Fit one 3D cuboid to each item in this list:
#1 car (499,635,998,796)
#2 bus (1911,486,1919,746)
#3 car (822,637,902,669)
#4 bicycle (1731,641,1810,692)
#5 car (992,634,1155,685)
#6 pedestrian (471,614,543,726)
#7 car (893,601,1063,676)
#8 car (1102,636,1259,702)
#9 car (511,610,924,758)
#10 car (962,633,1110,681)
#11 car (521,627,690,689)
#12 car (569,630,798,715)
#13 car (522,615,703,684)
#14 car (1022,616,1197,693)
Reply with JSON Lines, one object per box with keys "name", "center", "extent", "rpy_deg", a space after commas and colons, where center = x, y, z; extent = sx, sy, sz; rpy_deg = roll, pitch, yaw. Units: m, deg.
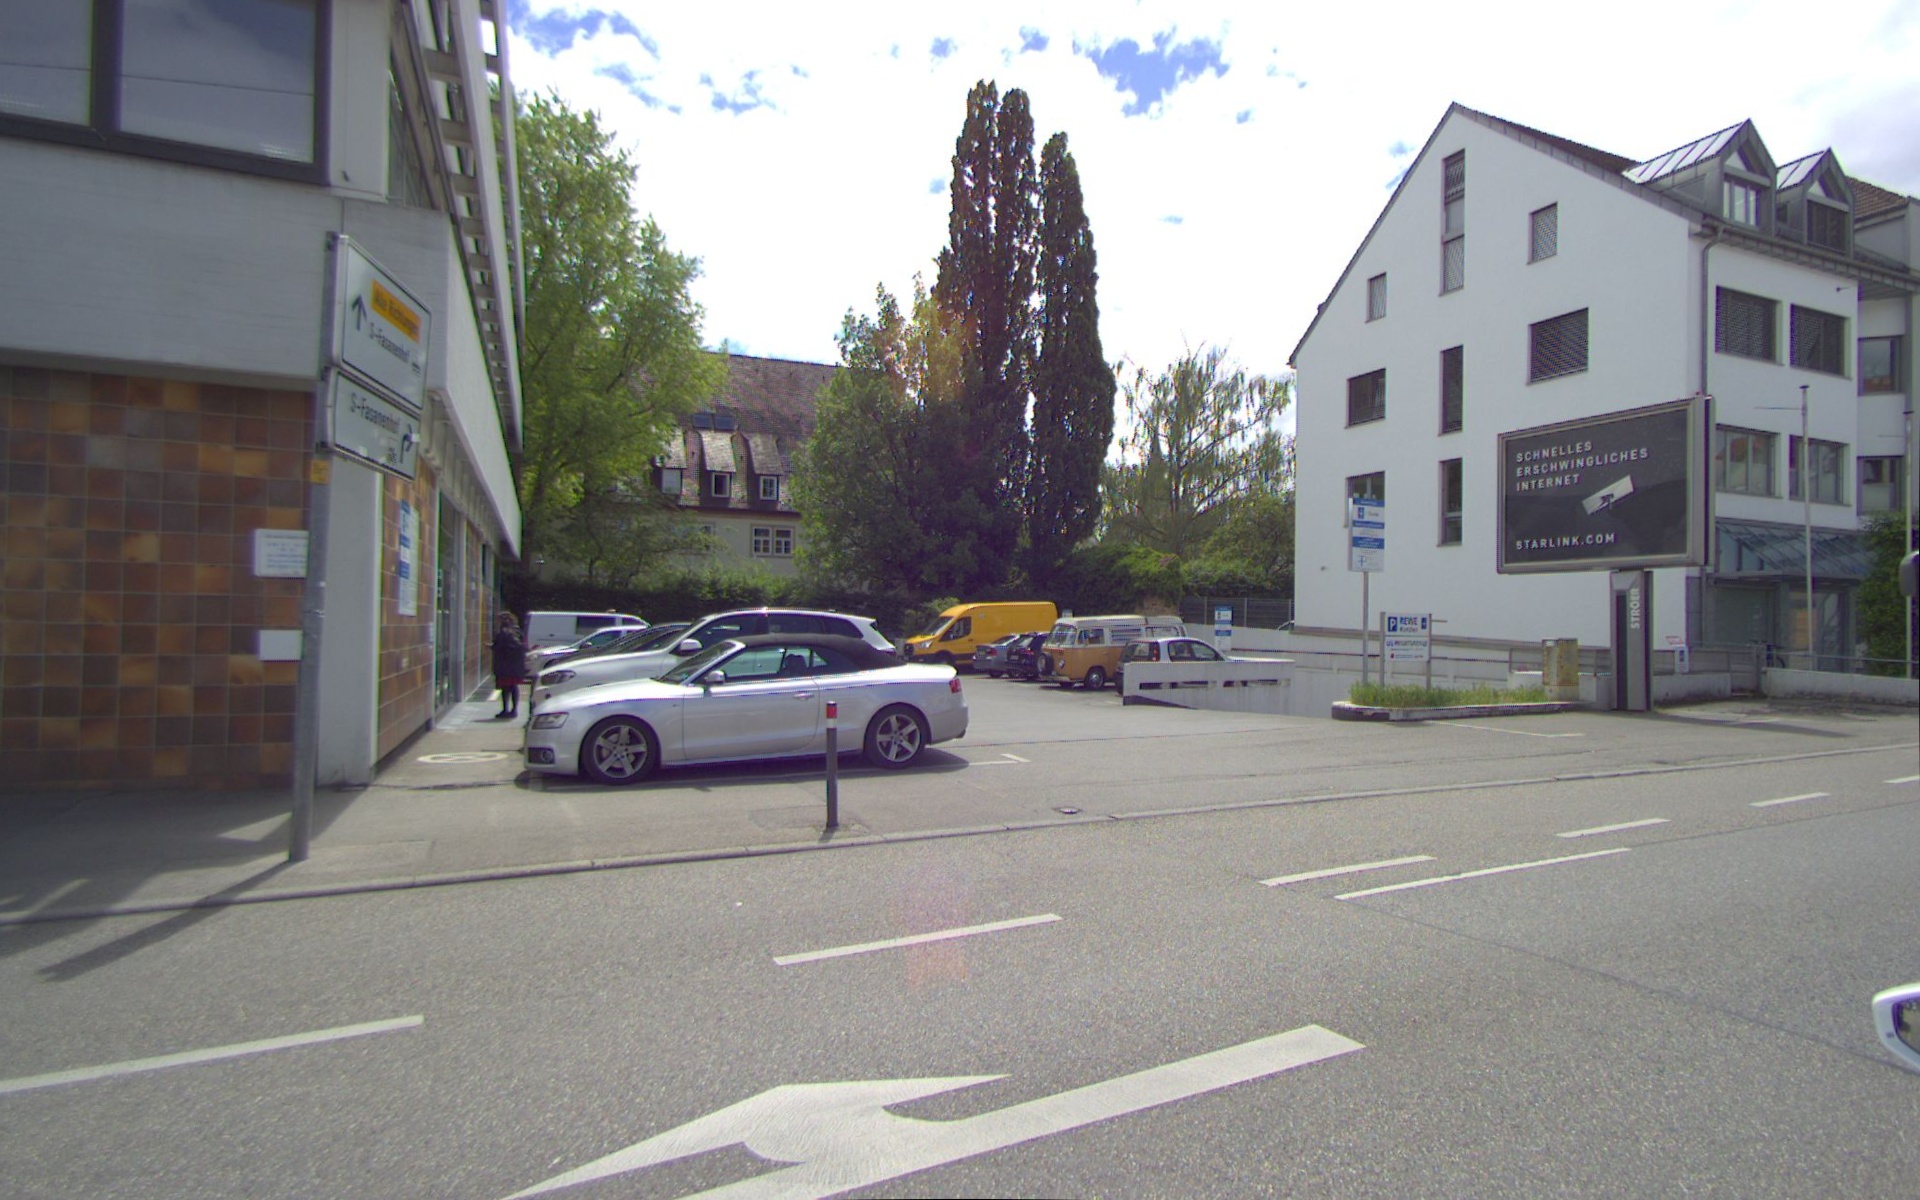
{"name": "car", "center": [-2.166, 1.057, 10.526], "extent": [4.788, 1.376, 1.946], "rpy_deg": [1, -2, -24]}
{"name": "bus", "center": [16.881, 0.237, 13.635], "extent": [10.056, 3.205, 2.672], "rpy_deg": [1, -2, -28]}
{"name": "car", "center": [-4.048, 2.177, 41.486], "extent": [2.992, 1.200, 1.414], "rpy_deg": [1, 1, -21]}
{"name": "bicycle", "center": [18.460, 1.498, 22.866], "extent": [1.977, 1.109, 0.628], "rpy_deg": [1, -1, -27]}
{"name": "car", "center": [3.438, 1.753, 30.353], "extent": [4.616, 1.457, 1.808], "rpy_deg": [1, -2, -23]}
{"name": "pedestrian", "center": [-7.120, 1.088, 15.827], "extent": [0.981, 1.693, 0.716], "rpy_deg": [1, -3, -22]}
{"name": "car", "center": [0.661, 1.415, 36.509], "extent": [5.896, 2.563, 2.056], "rpy_deg": [1, -3, -25]}
{"name": "car", "center": [5.639, 1.706, 25.656], "extent": [3.713, 1.549, 1.803], "rpy_deg": [1, -2, -31]}
{"name": "car", "center": [-3.087, 1.010, 12.998], "extent": [4.857, 1.640, 1.948], "rpy_deg": [0, -4, -22]}
{"name": "car", "center": [2.458, 1.821, 32.520], "extent": [4.444, 1.457, 1.808], "rpy_deg": [1, -3, -23]}
{"name": "car", "center": [-9.046, 1.451, 25.694], "extent": [3.943, 1.480, 1.842], "rpy_deg": [1, -2, -23]}
{"name": "car", "center": [-5.836, 1.454, 21.212], "extent": [4.434, 1.599, 1.916], "rpy_deg": [0, -2, -25]}
{"name": "car", "center": [-10.467, 1.462, 30.375], "extent": [5.014, 1.967, 1.964], "rpy_deg": [1, -2, -22]}
{"name": "car", "center": [4.156, 1.475, 27.914], "extent": [4.585, 2.015, 1.833], "rpy_deg": [1, -2, -25]}
